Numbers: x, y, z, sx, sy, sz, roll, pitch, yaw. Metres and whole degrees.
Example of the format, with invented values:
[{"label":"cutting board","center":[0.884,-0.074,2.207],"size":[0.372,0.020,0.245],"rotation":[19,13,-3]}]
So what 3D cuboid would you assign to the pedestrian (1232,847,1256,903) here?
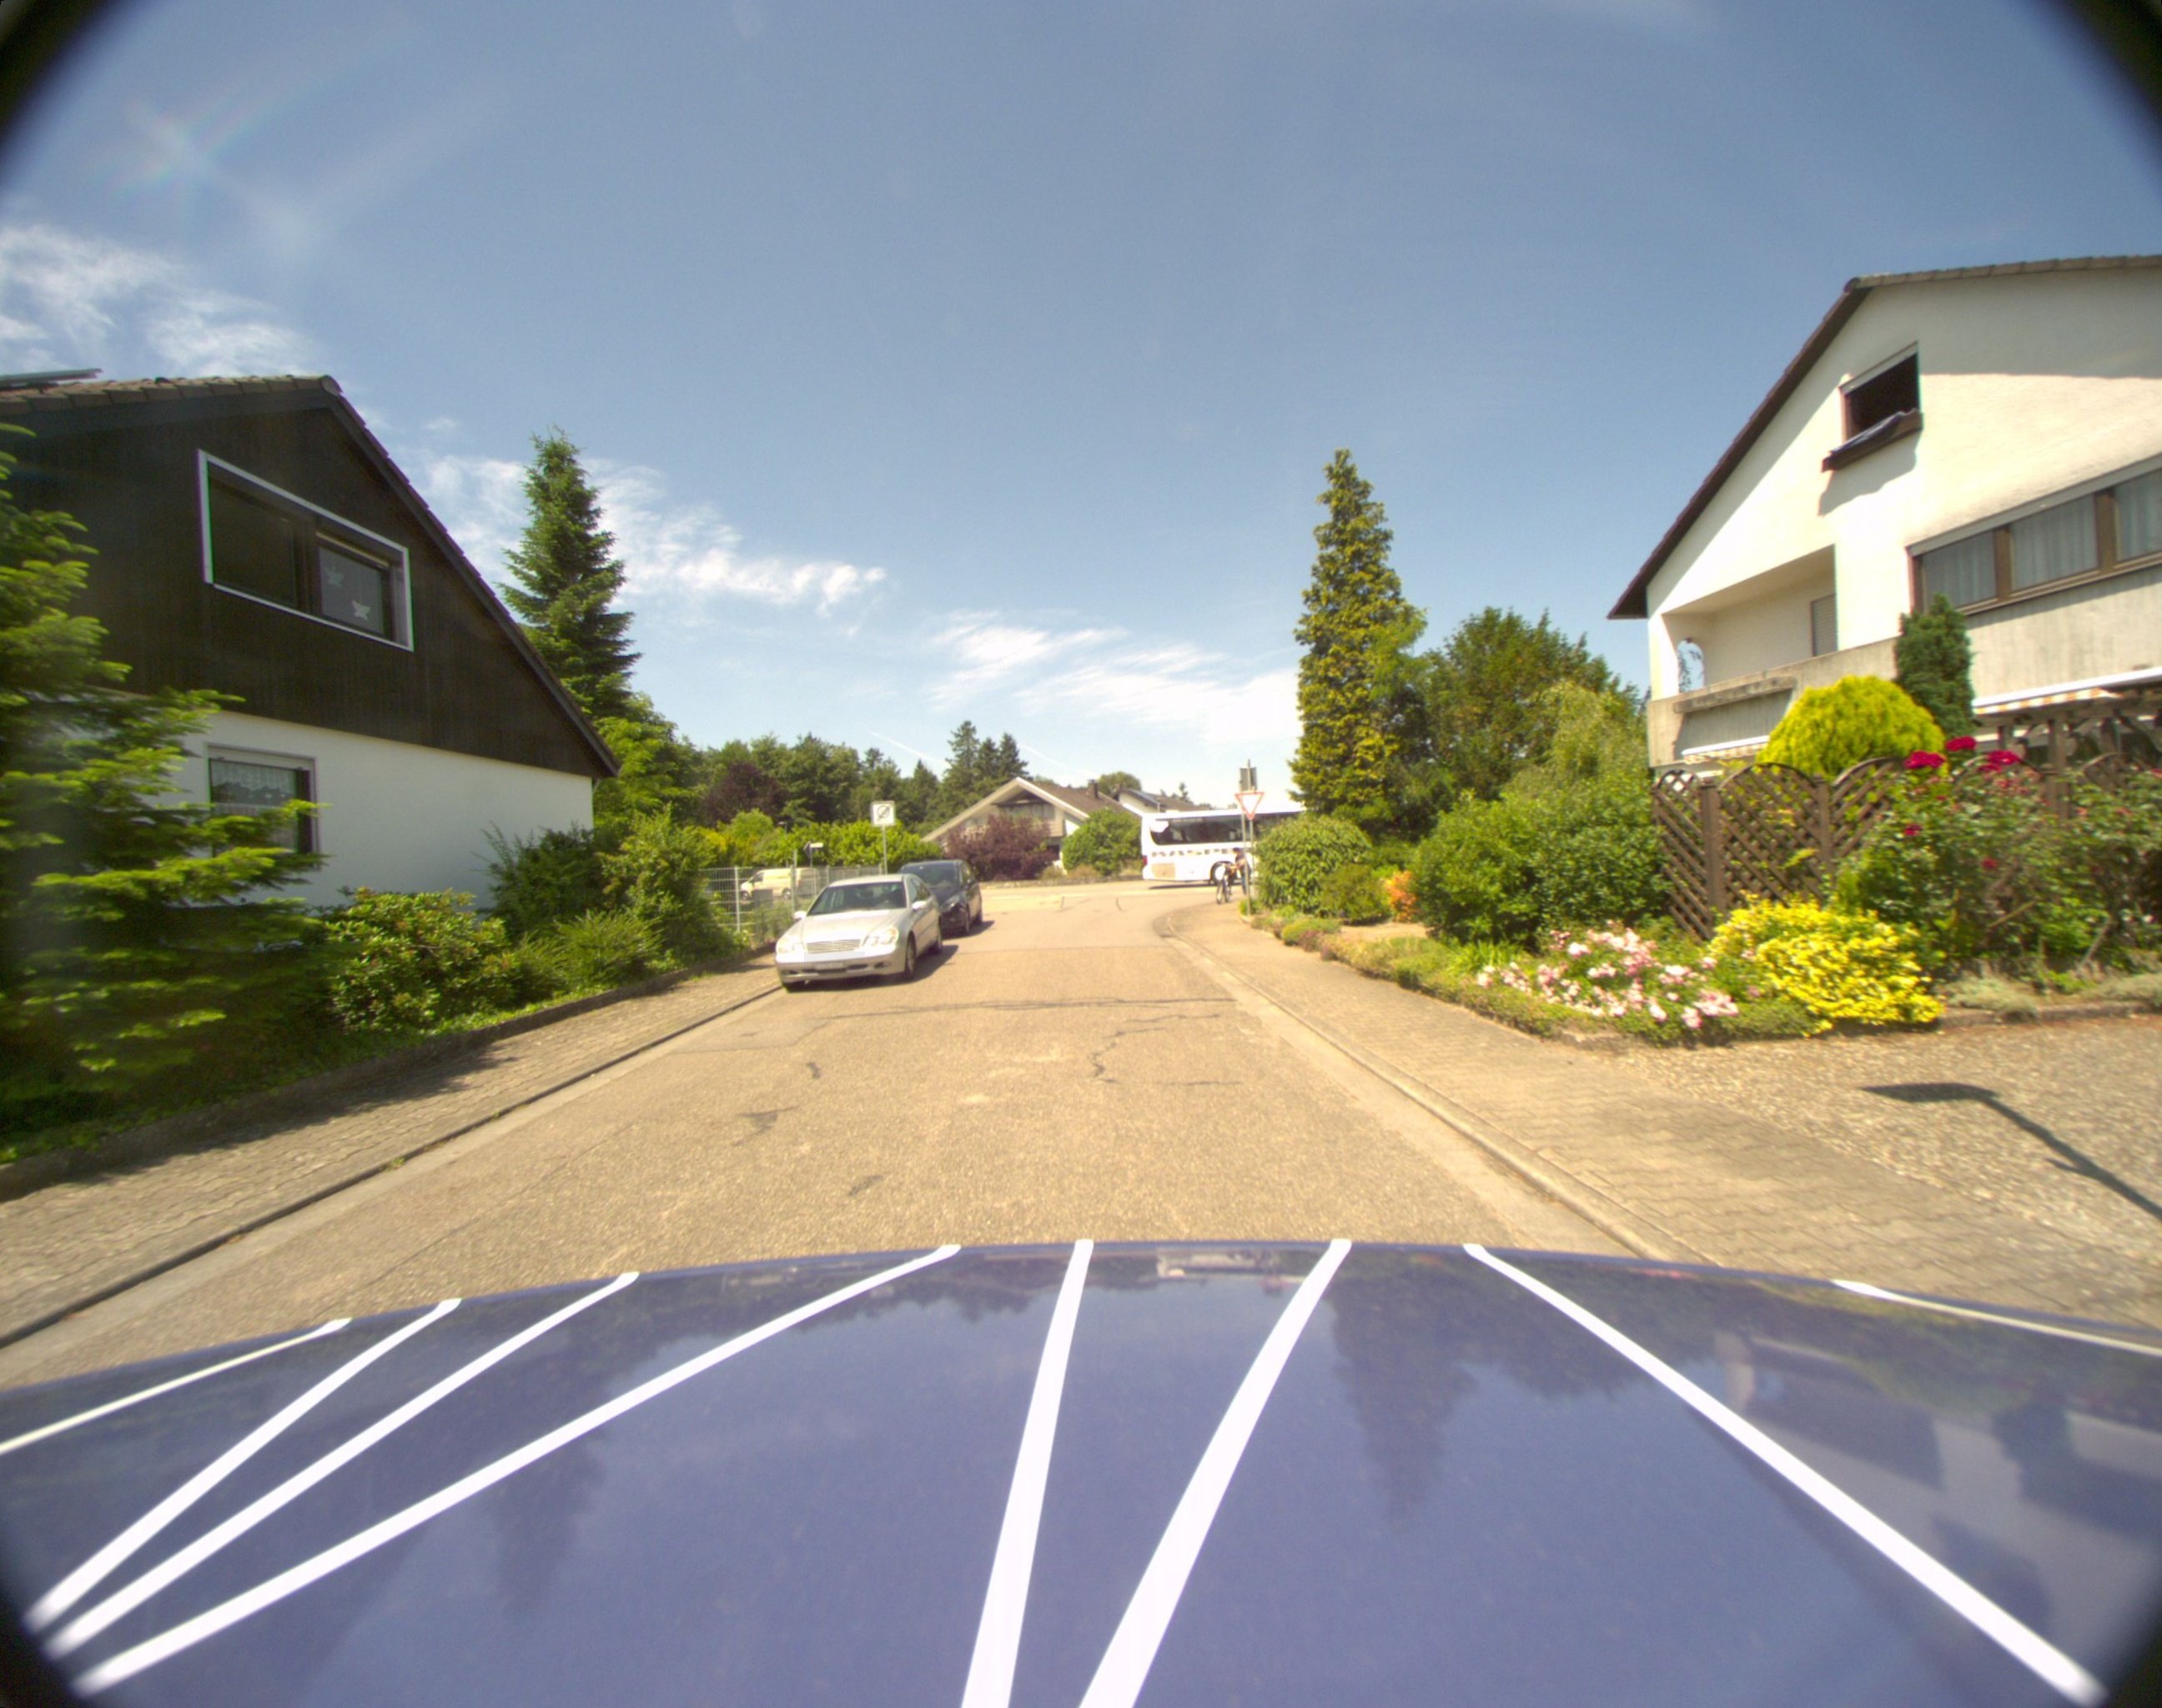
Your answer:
[{"label":"pedestrian","center":[4.446,0.561,20.722],"size":[0.503,1.492,0.613],"rotation":[-2,0,18]}]

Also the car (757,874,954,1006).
[{"label":"car","center":[-3.146,1.114,11.551],"size":[1.691,1.451,4.336],"rotation":[-2,0,-1]}]

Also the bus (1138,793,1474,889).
[{"label":"bus","center":[8.953,-0.442,31.626],"size":[12.690,3.225,3.195],"rotation":[-2,0,12]}]

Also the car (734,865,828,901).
[{"label":"car","center":[-17.602,1.715,44.594],"size":[5.056,1.845,2.023],"rotation":[-3,0,23]}]

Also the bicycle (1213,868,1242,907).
[{"label":"bicycle","center":[4.007,0.881,20.700],"size":[0.442,0.958,1.851],"rotation":[-2,0,20]}]

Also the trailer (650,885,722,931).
[{"label":"trailer","center":[-10.900,1.465,21.074],"size":[1.106,1.077,2.220],"rotation":[-2,0,-9]}]

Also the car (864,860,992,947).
[{"label":"car","center":[-3.317,0.996,17.430],"size":[1.968,1.652,4.682],"rotation":[-2,0,-1]}]
